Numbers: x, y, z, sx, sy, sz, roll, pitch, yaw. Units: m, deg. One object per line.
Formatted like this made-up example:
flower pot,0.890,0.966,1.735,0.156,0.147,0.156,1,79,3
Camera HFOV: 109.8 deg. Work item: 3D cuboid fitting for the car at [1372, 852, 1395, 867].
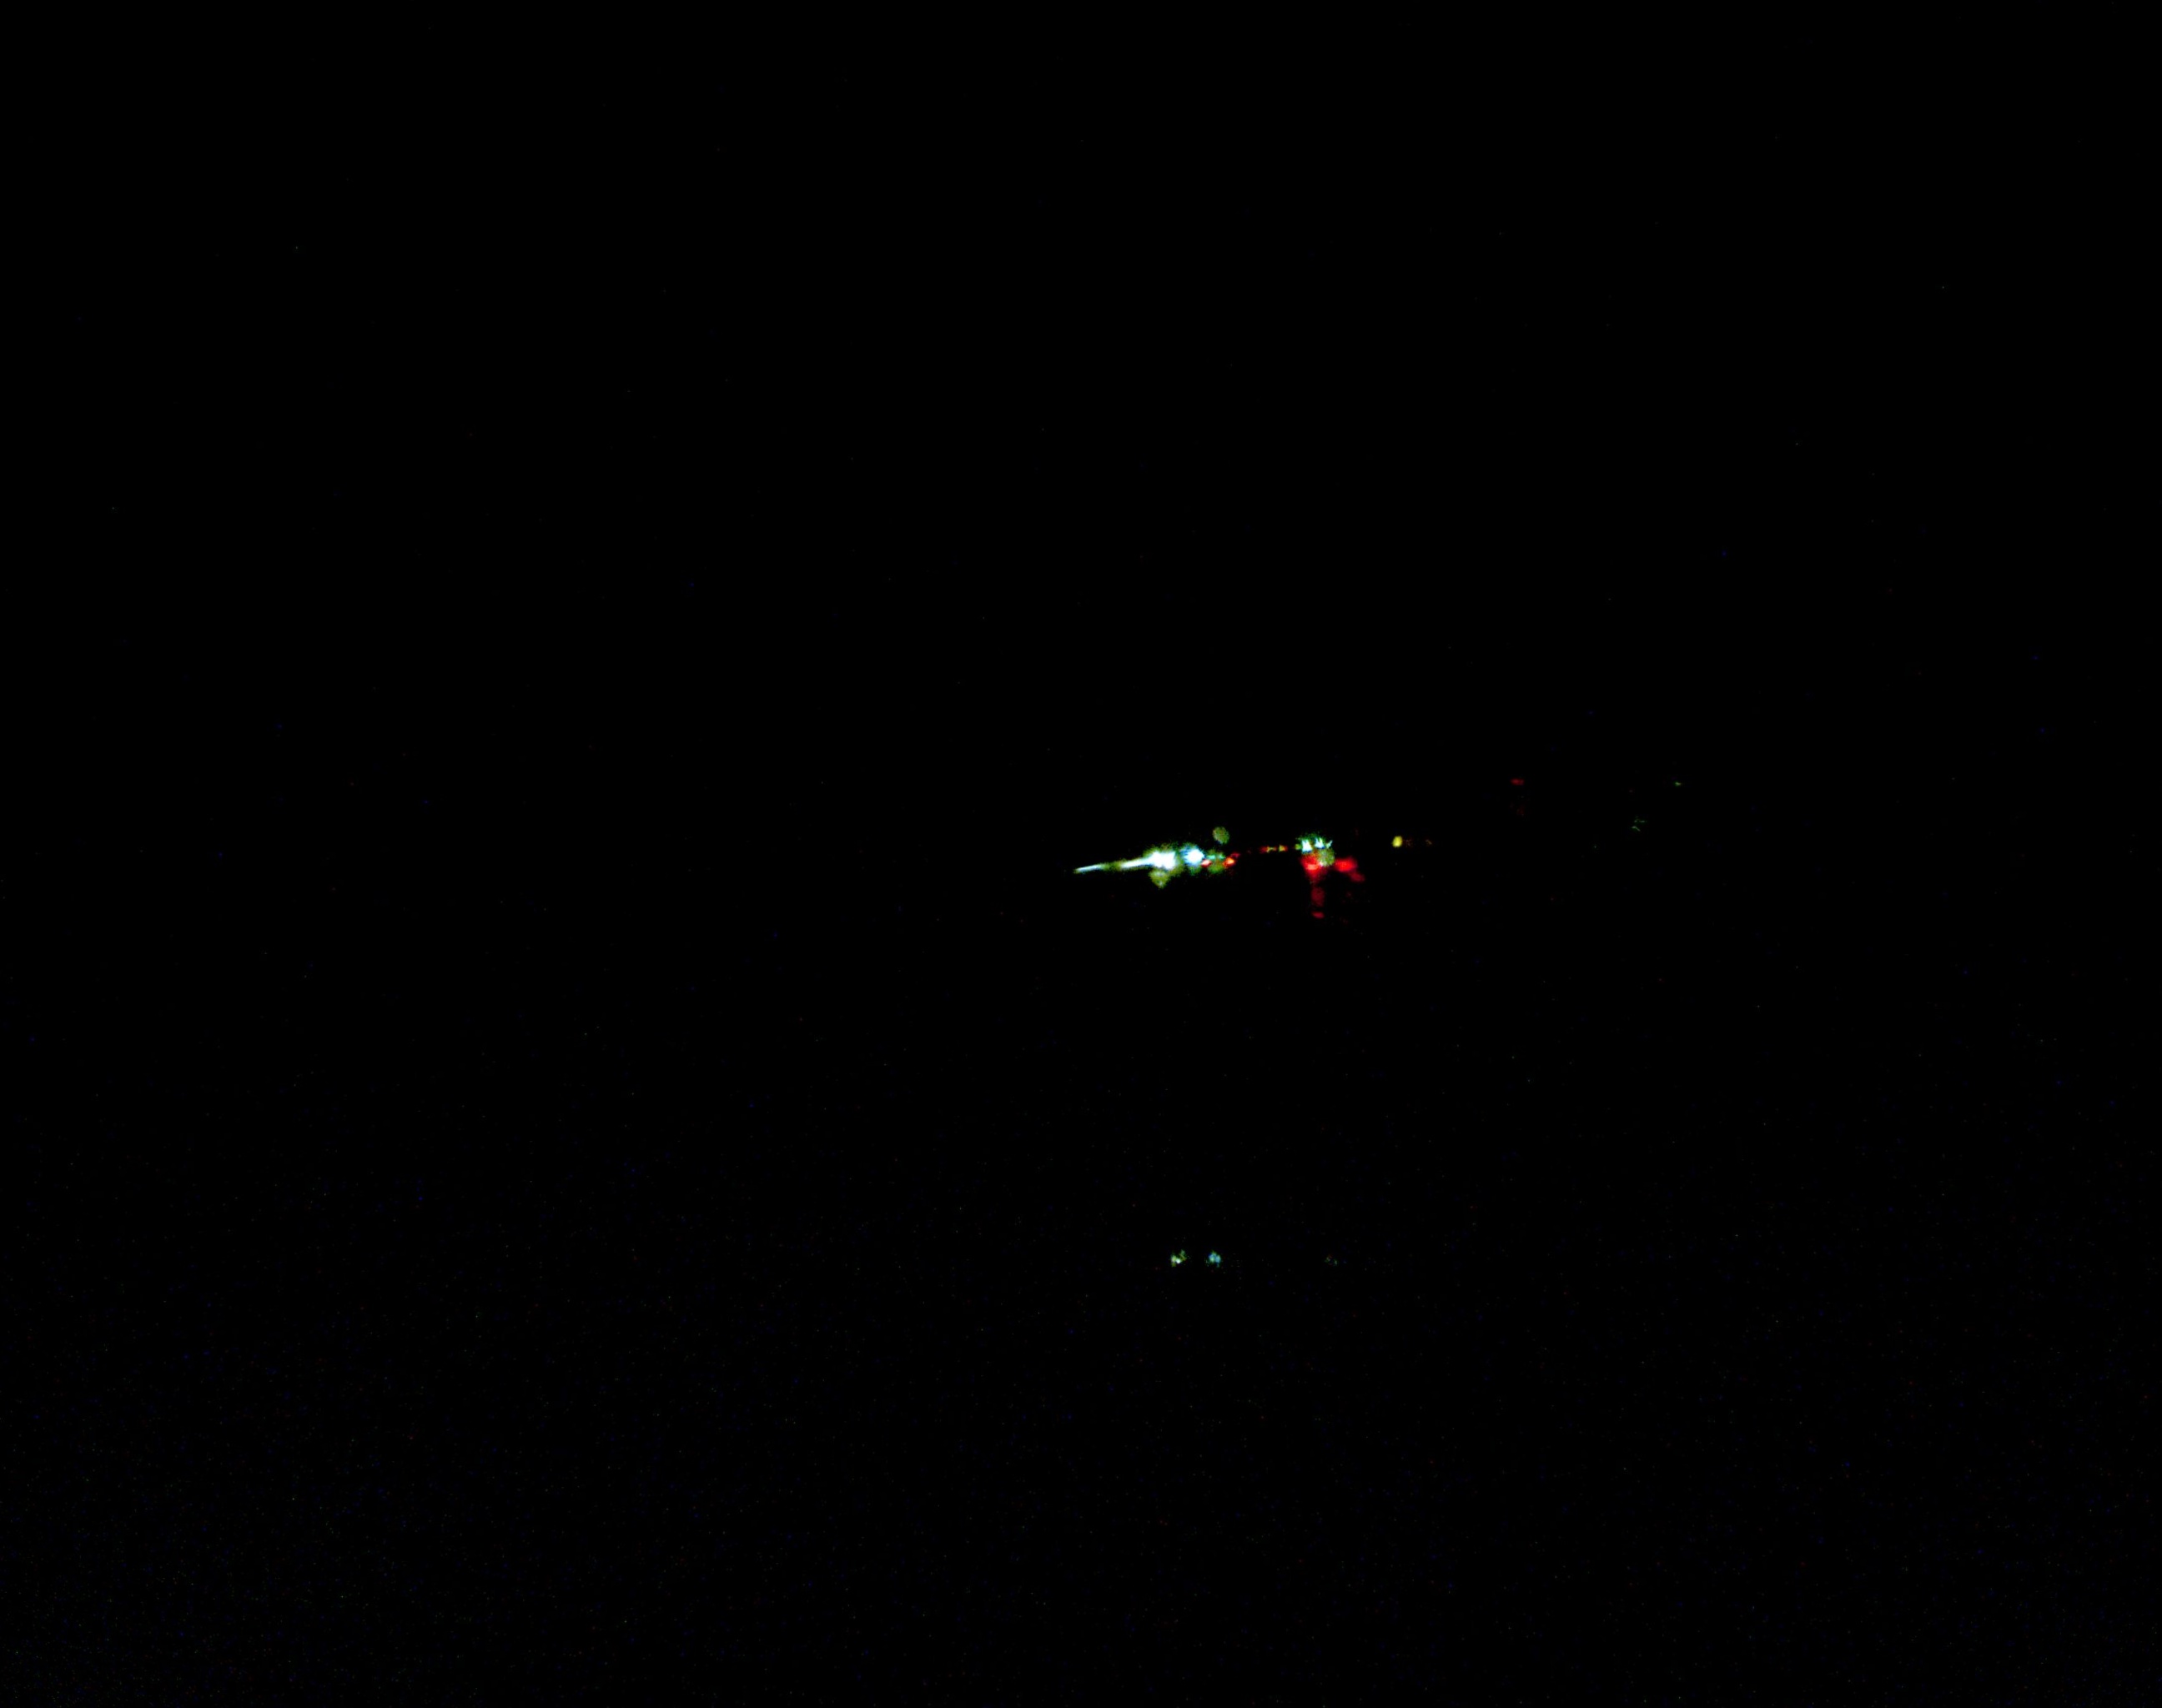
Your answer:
car,43.117,0.789,108.321,1.998,2.002,4.001,-3,1,6

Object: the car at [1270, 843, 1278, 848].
car,65.326,-2.877,257.126,1.689,1.671,3.473,-2,1,26

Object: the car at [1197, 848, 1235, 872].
car,9.834,0.394,55.706,1.886,1.591,3.898,-3,1,-2

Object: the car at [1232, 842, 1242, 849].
car,41.443,-2.228,201.773,1.996,1.604,4.617,-2,1,16

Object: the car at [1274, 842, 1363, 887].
car,10.191,0.398,33.025,2.204,1.735,4.523,-3,1,-2

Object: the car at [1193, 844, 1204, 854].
car,25.686,-1.183,165.634,1.996,2.002,4.003,-3,1,13

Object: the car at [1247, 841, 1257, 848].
car,51.052,-2.805,226.671,1.995,2.063,4.006,-2,1,23

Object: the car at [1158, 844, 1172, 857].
car,12.938,-0.552,117.465,1.997,2.002,4.002,-3,1,7
